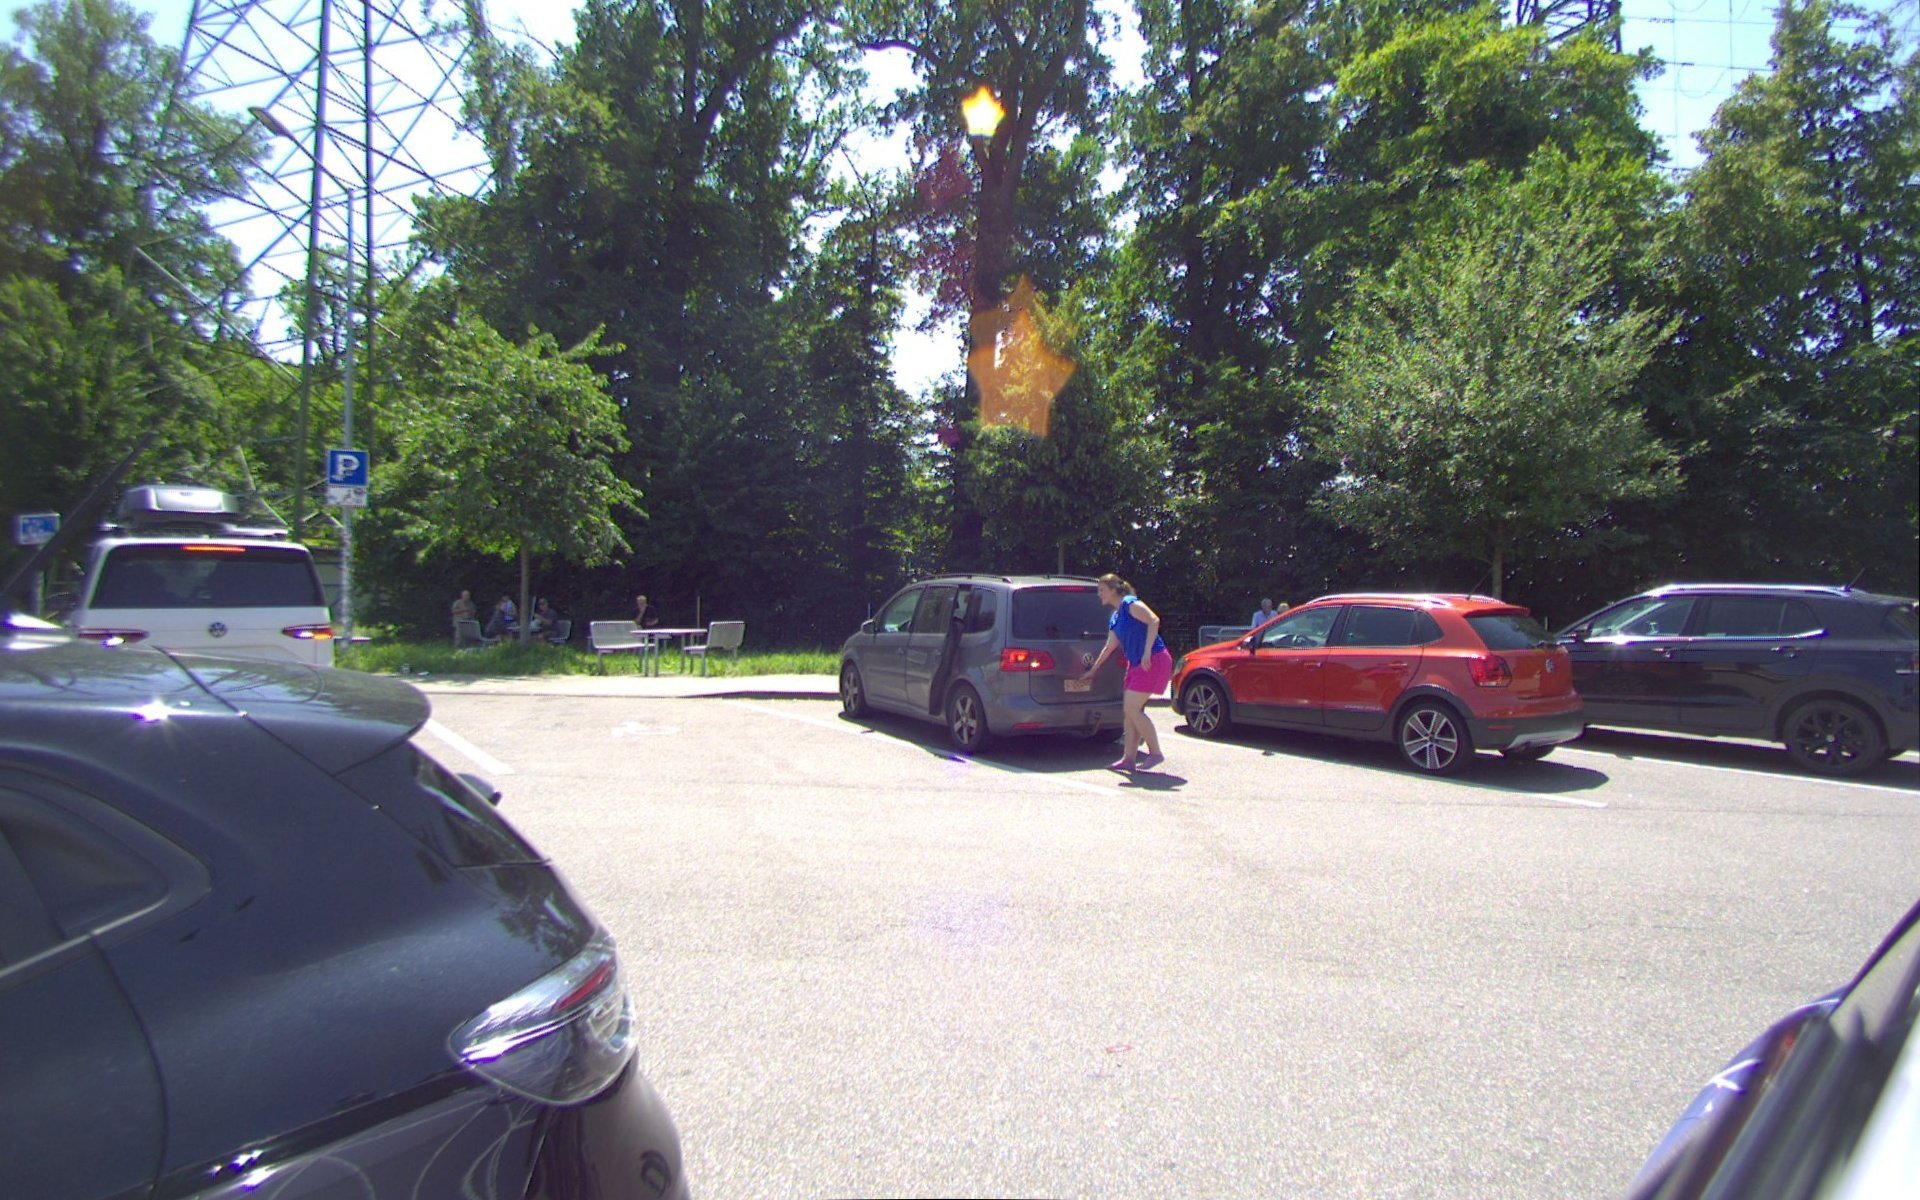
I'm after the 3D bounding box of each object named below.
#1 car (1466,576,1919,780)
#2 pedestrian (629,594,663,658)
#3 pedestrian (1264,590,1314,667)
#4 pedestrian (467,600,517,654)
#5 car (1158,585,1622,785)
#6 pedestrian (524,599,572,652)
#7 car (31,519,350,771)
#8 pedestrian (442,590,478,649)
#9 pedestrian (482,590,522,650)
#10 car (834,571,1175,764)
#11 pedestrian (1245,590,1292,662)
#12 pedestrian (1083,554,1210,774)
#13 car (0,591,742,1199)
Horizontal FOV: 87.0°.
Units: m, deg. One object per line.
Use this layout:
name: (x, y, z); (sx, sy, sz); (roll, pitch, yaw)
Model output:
car: (7.166, 0.578, 9.713); (1.690, 1.593, 3.787); (0, 1, -39)
pedestrian: (-6.596, 0.526, 21.276); (0.655, 1.311, 0.786); (0, 0, -16)
pedestrian: (5.767, 0.490, 17.766); (0.657, 1.311, 0.783); (0, 0, 3)
pedestrian: (-10.530, 0.594, 22.778); (0.873, 1.192, 0.668); (0, 0, -41)
car: (3.840, 0.613, 9.654); (1.687, 1.484, 3.793); (0, 1, -32)
pedestrian: (-9.614, 0.581, 23.632); (0.873, 1.192, 0.668); (0, 0, -41)
car: (-7.787, 0.305, 10.049); (4.550, 1.936, 1.882); (1, 1, 44)
pedestrian: (-12.298, 0.469, 24.898); (0.657, 1.422, 0.649); (0, 0, -39)
pedestrian: (-11.075, 0.465, 24.473); (0.664, 1.422, 0.643); (0, 0, 32)
car: (0.240, 0.521, 10.524); (1.713, 1.601, 3.996); (0, 1, -29)
pedestrian: (5.773, 0.479, 18.977); (0.657, 1.311, 0.783); (0, 0, 3)
pedestrian: (1.518, 0.490, 8.372); (0.719, 1.703, 0.921); (0, 0, -13)
car: (-2.217, 0.725, 0.606); (1.737, 1.501, 3.757); (0, 0, 44)
